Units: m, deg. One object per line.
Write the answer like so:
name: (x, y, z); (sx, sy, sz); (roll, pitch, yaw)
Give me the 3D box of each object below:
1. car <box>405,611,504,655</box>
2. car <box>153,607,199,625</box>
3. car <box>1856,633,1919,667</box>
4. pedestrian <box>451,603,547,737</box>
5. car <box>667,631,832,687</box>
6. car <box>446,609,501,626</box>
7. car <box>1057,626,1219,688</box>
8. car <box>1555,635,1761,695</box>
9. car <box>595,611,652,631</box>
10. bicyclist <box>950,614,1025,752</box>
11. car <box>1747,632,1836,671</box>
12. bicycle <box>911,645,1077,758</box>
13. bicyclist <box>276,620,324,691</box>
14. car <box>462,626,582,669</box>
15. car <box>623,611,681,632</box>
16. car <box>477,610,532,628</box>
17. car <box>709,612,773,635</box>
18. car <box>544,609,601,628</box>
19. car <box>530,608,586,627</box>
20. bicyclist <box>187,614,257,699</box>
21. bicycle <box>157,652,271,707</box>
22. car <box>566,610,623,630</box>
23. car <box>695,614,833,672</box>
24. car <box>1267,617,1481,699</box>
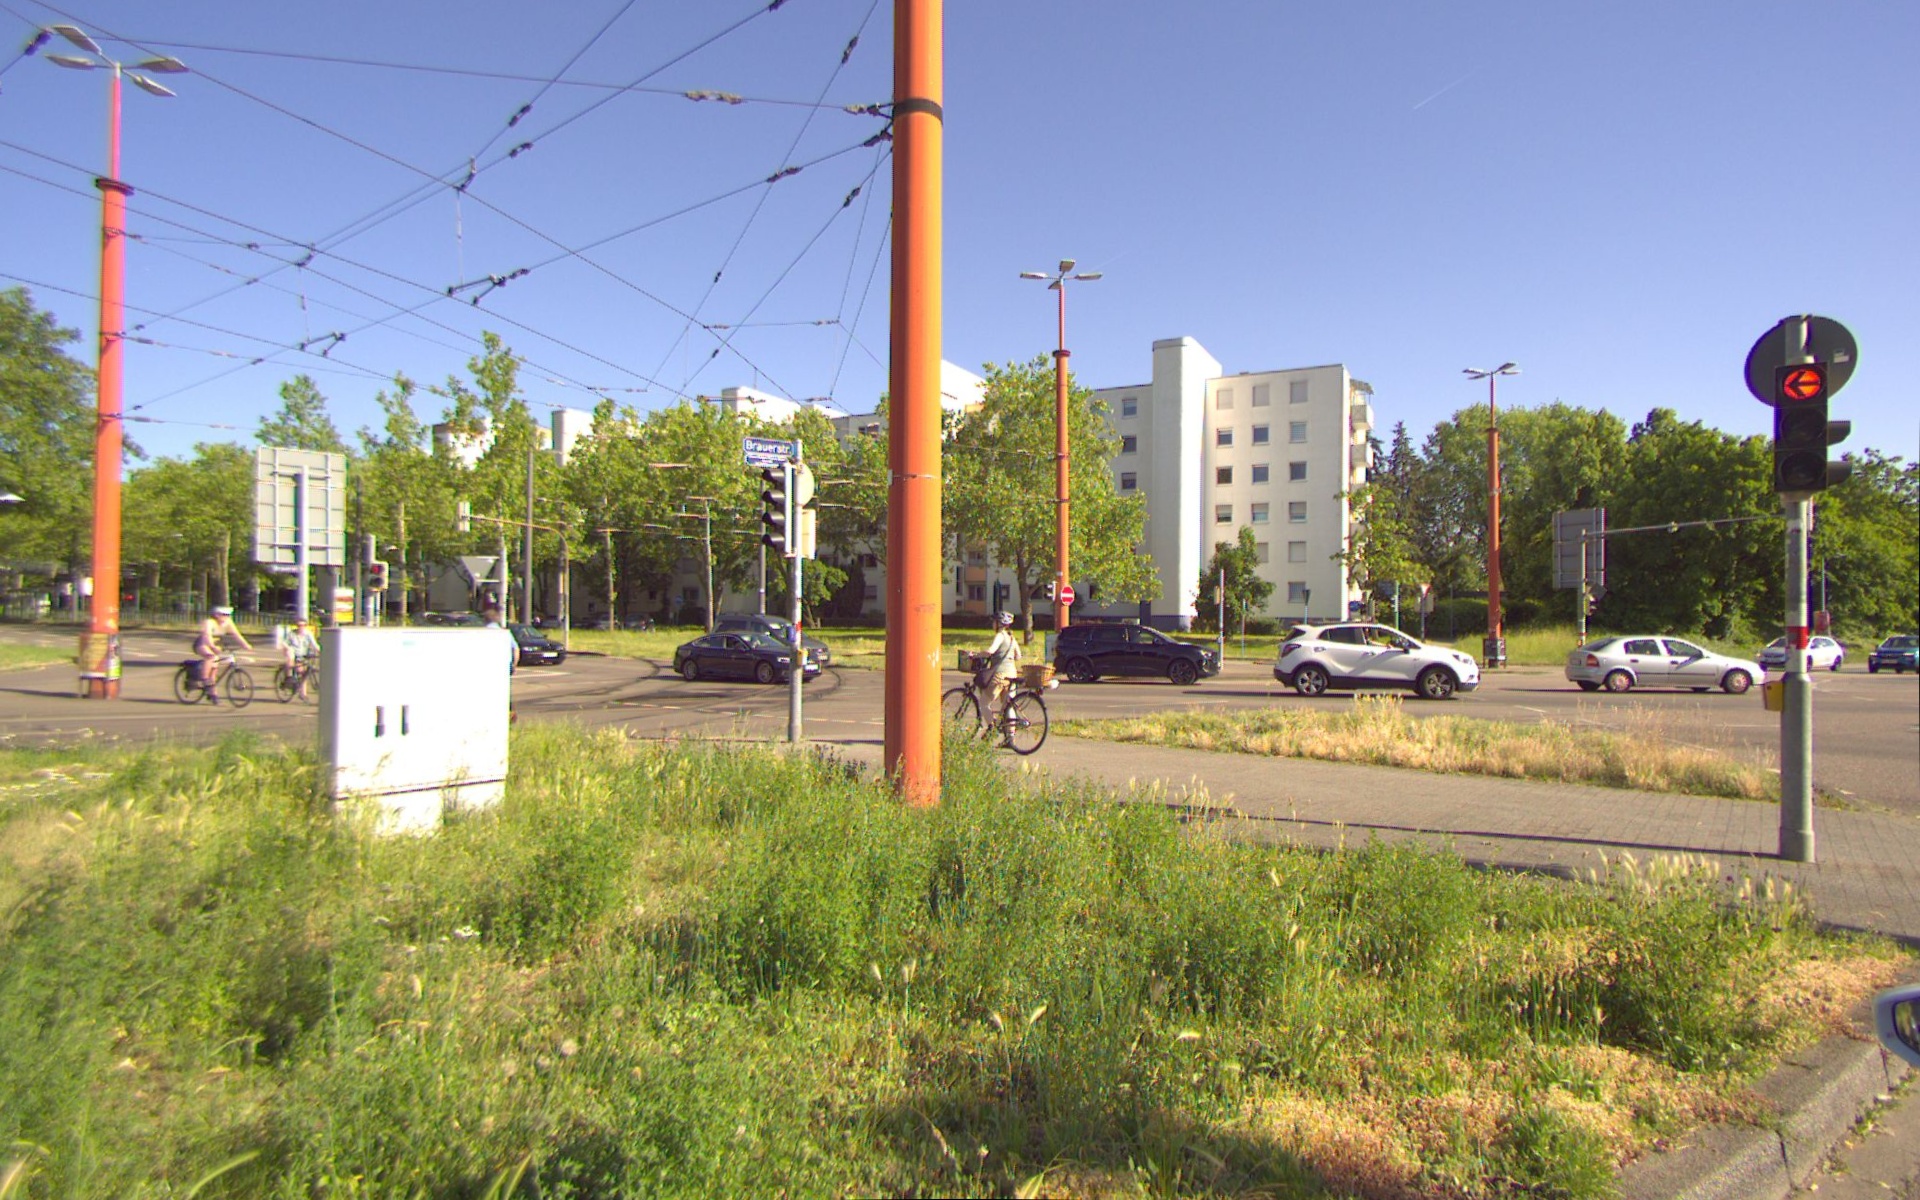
car: (-21.237, 1.353, 42.175); (4.233, 1.730, 1.847); (0, -1, 33)
car: (-93.992, 1.898, 120.454); (1.969, 2.040, 3.984); (0, -1, 38)
car: (37.154, 1.962, 39.623); (3.571, 1.260, 1.730); (1, -1, -31)
pedestrian: (-6.576, 0.959, 14.331); (0.975, 1.817, 0.949); (0, -1, 45)
car: (-5.798, 1.566, 27.627); (4.282, 1.368, 1.763); (0, -1, 27)
car: (-41.437, 1.496, 85.625); (3.935, 1.428, 1.794); (1, -1, -17)
car: (4.941, 1.518, 27.781); (4.178, 1.566, 1.858); (0, -1, 19)
car: (17.162, 1.576, 24.841); (3.919, 1.363, 1.489); (0, -1, 10)
car: (-24.999, 1.565, 74.696); (3.934, 1.428, 1.794); (1, -1, -16)
bicyclist: (0.336, 0.975, 12.139); (0.651, 1.605, 0.671); (0, -1, 33)
car: (35.207, 2.142, 42.517); (3.891, 1.552, 1.752); (1, -1, -31)
bicycle: (0.395, 1.178, 12.098); (1.915, 1.210, 0.690); (0, -1, 33)
bicyclist: (-13.099, 1.091, 19.947); (0.616, 1.399, 0.443); (1, -1, -1)
car: (-15.106, 1.593, 34.577); (4.289, 1.368, 1.761); (0, -1, 34)
car: (-22.258, 1.555, 72.646); (3.934, 1.428, 1.794); (1, -1, -16)
car: (-38.034, 1.578, 83.884); (3.935, 1.428, 1.794); (1, -1, -17)
car: (-14.544, 1.558, 66.842); (1.770, 1.428, 3.987); (0, -1, 35)
car: (-30.079, 1.427, 78.075); (3.934, 1.428, 1.794); (1, -1, -16)
car: (-31.940, 1.378, 79.972); (3.935, 1.428, 1.794); (1, -1, -17)
bicyclist: (-13.971, 1.057, 19.032); (0.752, 1.565, 0.732); (1, -1, -1)
bicycle: (-14.065, 1.493, 18.975); (1.612, 0.974, 0.685); (1, -1, -1)
car: (-27.580, 1.494, 75.920); (3.934, 1.428, 1.794); (1, -1, -16)
car: (-6.320, 1.335, 32.330); (4.232, 1.730, 1.847); (0, -1, 32)
car: (8.974, 1.225, 22.139); (4.168, 1.658, 1.829); (0, -1, 16)
